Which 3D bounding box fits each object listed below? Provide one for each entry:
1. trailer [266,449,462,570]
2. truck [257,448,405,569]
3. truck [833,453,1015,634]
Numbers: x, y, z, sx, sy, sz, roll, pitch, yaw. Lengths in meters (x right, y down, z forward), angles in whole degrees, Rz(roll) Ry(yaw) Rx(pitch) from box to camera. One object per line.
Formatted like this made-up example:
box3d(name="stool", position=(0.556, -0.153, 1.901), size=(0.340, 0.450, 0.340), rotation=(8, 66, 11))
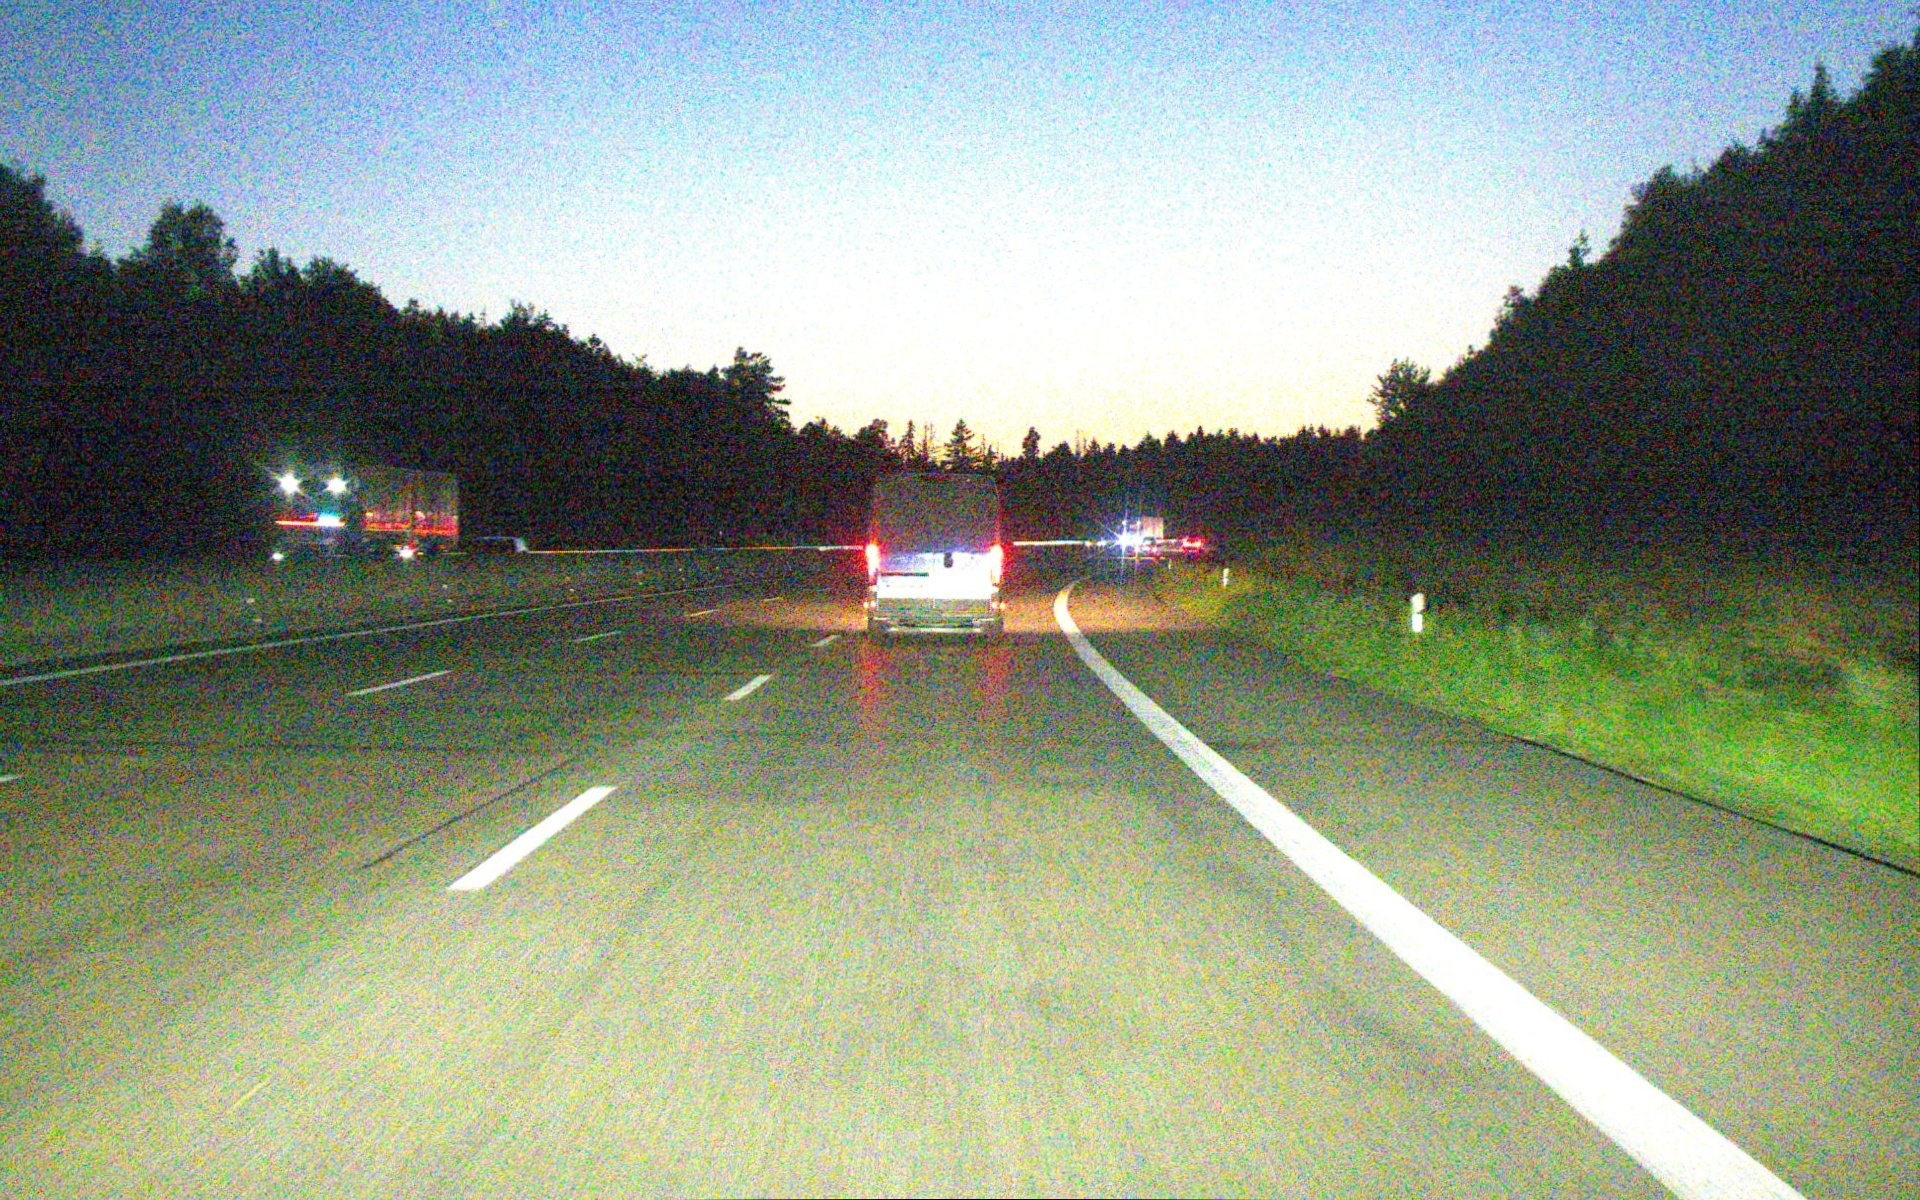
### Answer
box3d(name="trailer", position=(-20.968, -3.084, 122.453), size=(3.543, 3.986, 17.282), rotation=(0, 1, 1))
box3d(name="truck", position=(-21.108, -3.024, 115.765), size=(3.502, 3.956, 6.699), rotation=(0, 1, 2))
box3d(name="truck", position=(-0.462, -0.866, 54.245), size=(2.630, 2.615, 8.685), rotation=(0, 1, 1))
